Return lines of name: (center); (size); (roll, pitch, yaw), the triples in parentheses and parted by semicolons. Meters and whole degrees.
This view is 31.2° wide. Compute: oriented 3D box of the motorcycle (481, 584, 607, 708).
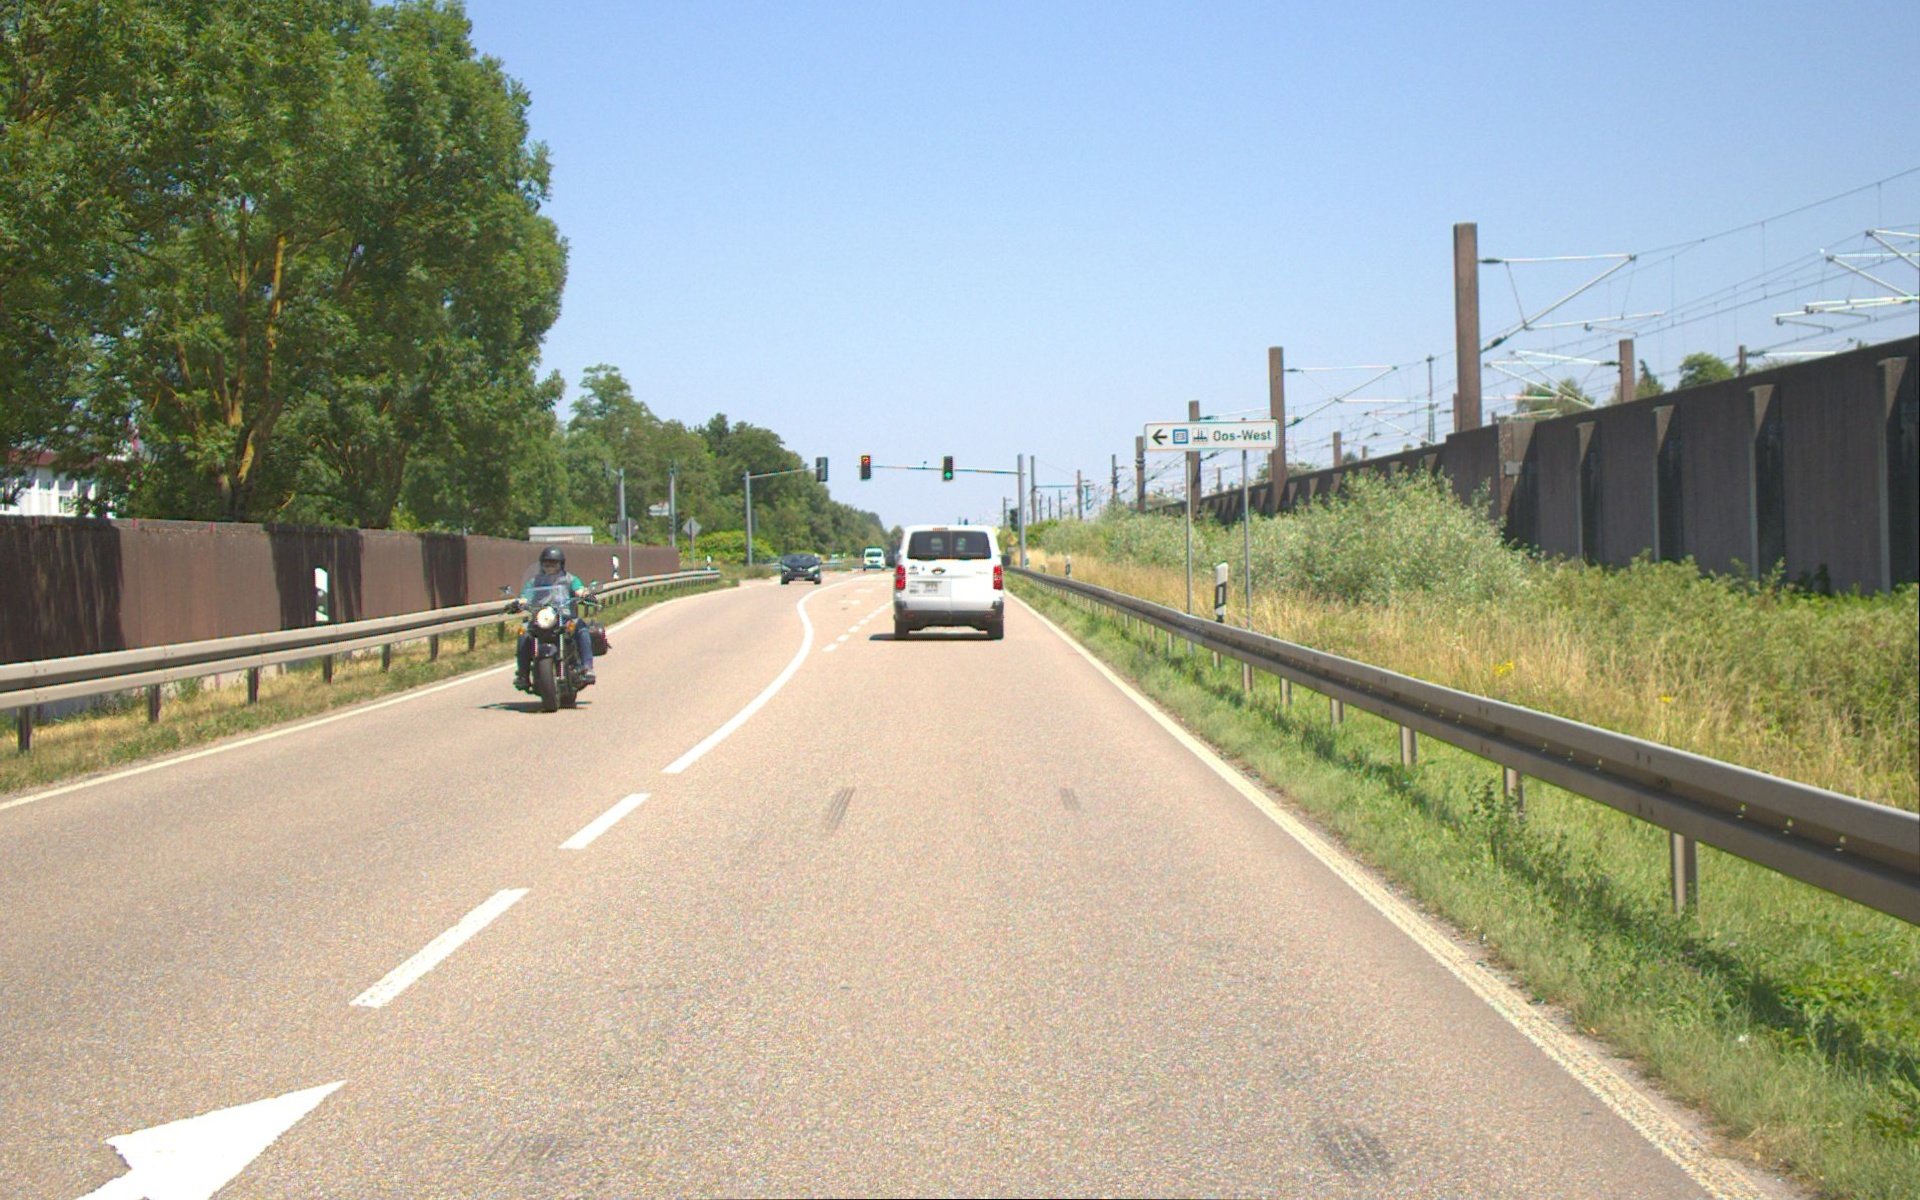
motorcycle: (-4.009, 0.426, 33.325); (0.953, 1.104, 2.336); (1, 1, -1)

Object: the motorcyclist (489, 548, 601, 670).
motorcyclist: (-4.010, 0.079, 33.286); (0.937, 1.126, 0.927); (2, 1, -1)

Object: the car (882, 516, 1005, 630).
car: (-0.266, -0.490, 58.621); (1.993, 1.843, 4.000); (1, 1, 0)

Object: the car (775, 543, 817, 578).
car: (-7.600, -1.850, 159.884); (1.819, 1.590, 4.000); (1, 1, -1)

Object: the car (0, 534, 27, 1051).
car: (-3.694, 0.603, 8.199); (1.789, 1.520, 4.390); (0, 1, -1)
